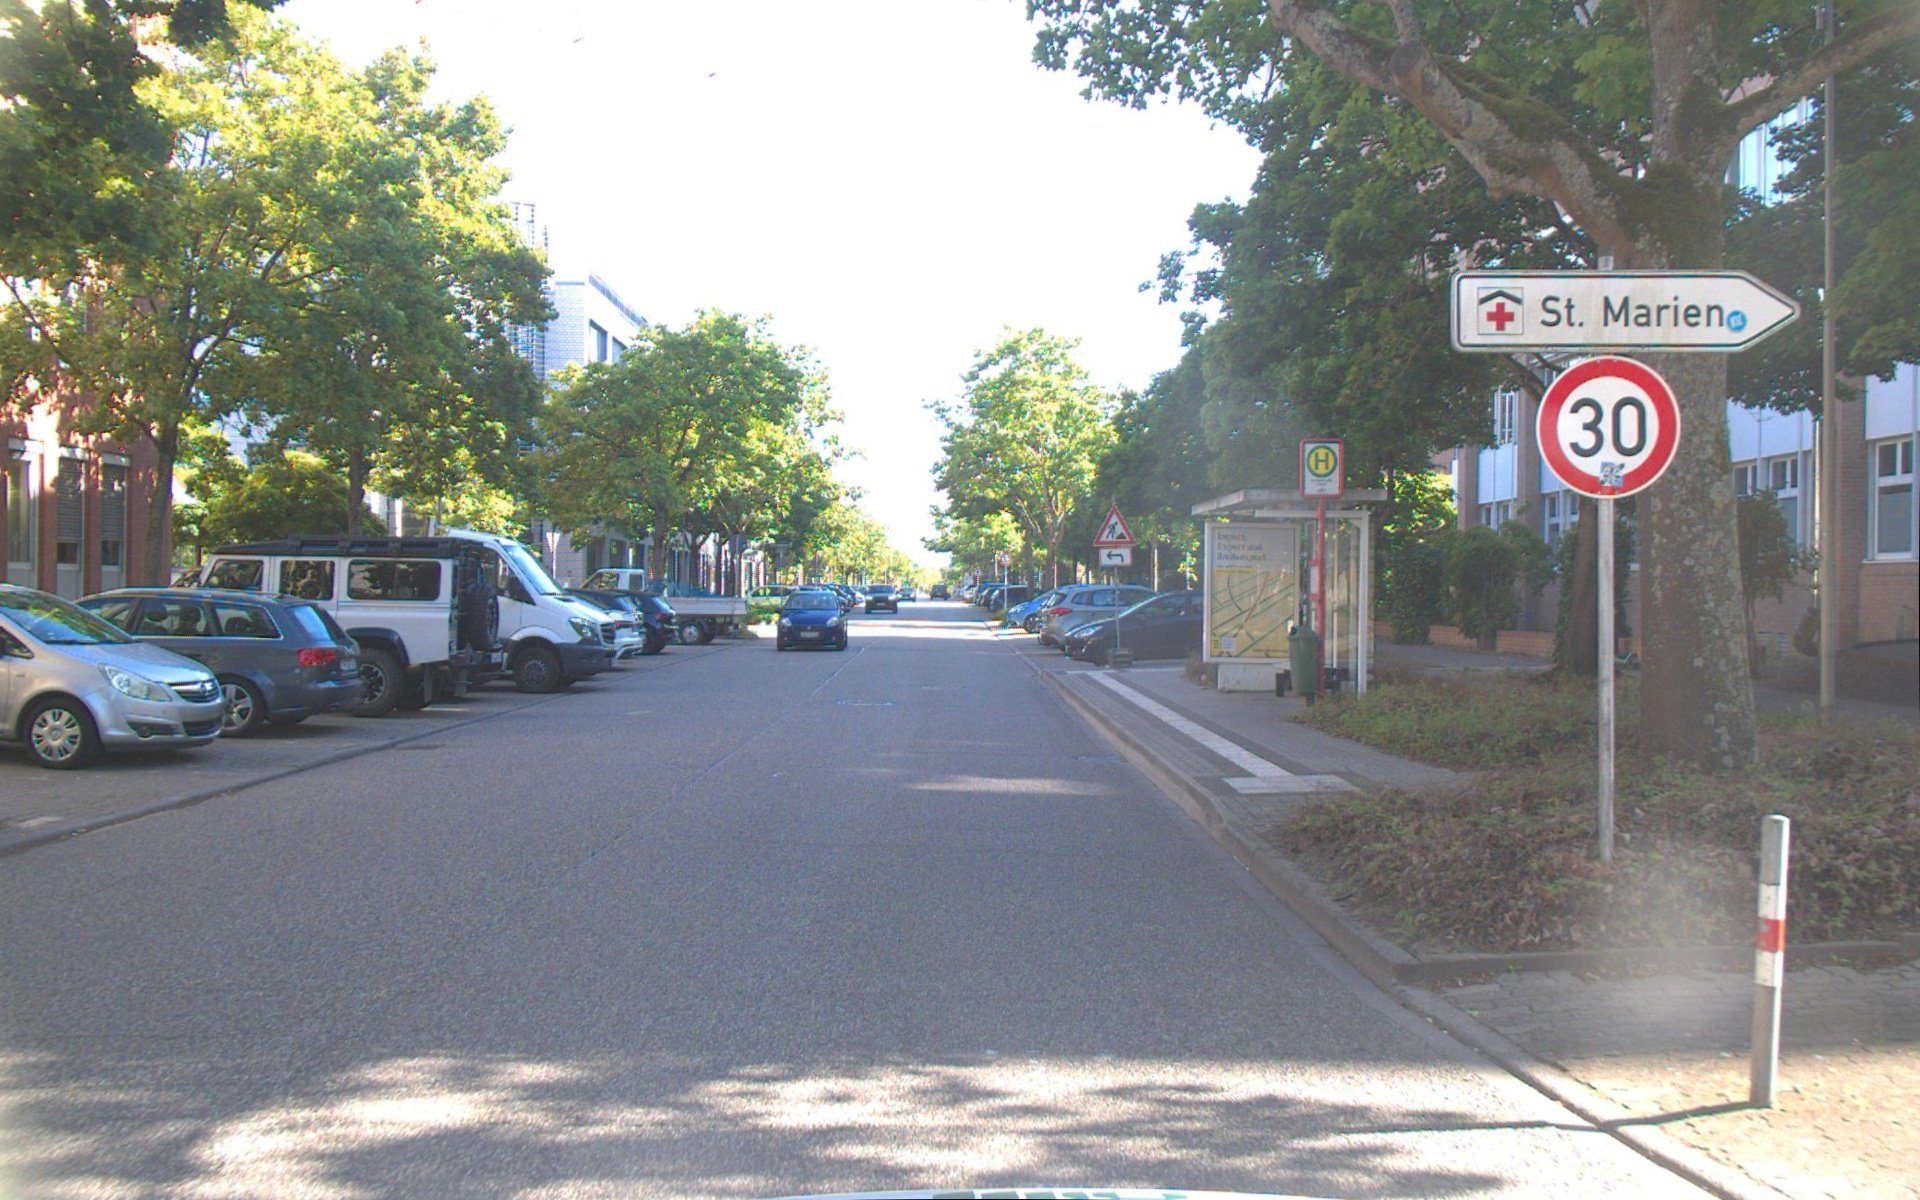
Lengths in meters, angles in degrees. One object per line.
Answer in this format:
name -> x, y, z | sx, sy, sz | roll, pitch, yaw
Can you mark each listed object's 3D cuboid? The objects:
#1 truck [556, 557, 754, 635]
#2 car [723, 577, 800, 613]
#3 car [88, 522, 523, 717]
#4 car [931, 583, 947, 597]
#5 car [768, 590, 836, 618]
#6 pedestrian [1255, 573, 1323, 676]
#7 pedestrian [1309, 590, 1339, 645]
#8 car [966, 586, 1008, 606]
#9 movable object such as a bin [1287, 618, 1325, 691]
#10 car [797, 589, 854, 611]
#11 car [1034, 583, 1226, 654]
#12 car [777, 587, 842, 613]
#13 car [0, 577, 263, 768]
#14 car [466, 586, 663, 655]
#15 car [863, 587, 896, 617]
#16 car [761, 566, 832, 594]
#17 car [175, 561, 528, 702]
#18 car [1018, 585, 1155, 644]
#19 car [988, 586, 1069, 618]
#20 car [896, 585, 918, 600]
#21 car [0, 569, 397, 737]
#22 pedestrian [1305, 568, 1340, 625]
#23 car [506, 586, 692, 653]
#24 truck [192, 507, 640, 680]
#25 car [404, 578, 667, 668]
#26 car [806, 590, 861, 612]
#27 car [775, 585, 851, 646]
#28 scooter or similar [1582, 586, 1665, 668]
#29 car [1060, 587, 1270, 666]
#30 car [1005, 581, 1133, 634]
truck -> -8.170, -0.107, 44.642 | 4.882, 1.993, 2.139 | 1, 0, 1
car -> -9.489, -0.222, 79.157 | 3.509, 1.577, 1.636 | 1, -2, -3
car -> -7.768, 0.231, 19.999 | 4.392, 2.087, 1.999 | 2, 0, -3
car -> -2.523, -1.221, 196.070 | 1.894, 1.625, 4.365 | 0, 0, -1
car -> -8.855, 0.205, 92.645 | 3.657, 1.489, 1.676 | 1, 0, -2
pedestrian -> 5.765, 0.420, 29.006 | 0.902, 1.740, 0.695 | -3, 1, -14
pedestrian -> 10.646, 0.506, 48.349 | 0.741, 1.579, 0.559 | 0, 0, -4
car -> 2.580, -0.376, 159.858 | 3.910, 1.823, 1.998 | 1, 0, -6
movable object such as a bin -> 3.744, 0.589, 17.915 | 0.292, 0.767, 0.467 | -2, 0, -1
car -> -9.227, -0.007, 113.712 | 3.814, 1.489, 1.857 | 1, 0, -2
car -> 4.058, 0.436, 39.794 | 4.269, 1.625, 1.936 | 1, 0, -7
car -> -9.129, -0.015, 100.683 | 3.814, 1.489, 1.857 | 1, 0, -2
car -> -8.343, 0.556, 14.402 | 3.755, 1.486, 1.733 | 2, 0, 2
car -> -8.647, 0.438, 36.357 | 3.906, 1.460, 1.721 | 0, 0, -1
car -> -4.697, 0.096, 96.489 | 1.854, 1.713, 4.350 | 0, 0, -3
car -> -8.784, -1.065, 88.910 | 3.657, 1.489, 1.676 | 1, 0, -2
car -> -8.167, 0.415, 22.530 | 4.025, 1.691, 1.999 | 2, 0, -3
car -> 3.647, 0.408, 48.110 | 3.769, 1.509, 1.824 | -2, 1, -2
car -> 3.649, 0.104, 88.431 | 4.183, 1.662, 1.857 | 0, 0, -3
car -> -5.148, -0.715, 159.876 | 1.775, 1.440, 4.109 | 1, 0, 3
car -> -8.026, 0.510, 17.143 | 3.701, 1.518, 1.833 | 2, 0, 0
pedestrian -> 11.402, -0.112, 52.072 | 0.683, 1.740, 0.918 | -3, 1, -12
car -> -8.395, 0.445, 38.676 | 3.903, 1.460, 1.790 | 1, 0, 3
truck -> -8.190, -0.101, 25.373 | 6.104, 2.464, 2.187 | 1, 0, -1
car -> -7.909, 0.412, 31.148 | 4.450, 1.467, 1.889 | 2, 1, -3
car -> -9.007, 0.045, 117.736 | 3.814, 1.489, 1.857 | 1, 0, -2
car -> -3.673, 0.360, 41.717 | 1.610, 1.445, 3.999 | 0, 0, -1
scooter or similar -> 11.469, 0.451, 28.647 | 0.538, 1.348, 1.804 | 2, 0, -6
car -> 3.973, 0.499, 32.492 | 3.856, 1.464, 1.773 | 1, 0, -3
car -> 3.815, 0.247, 58.282 | 4.316, 1.646, 1.911 | -2, 0, -2
